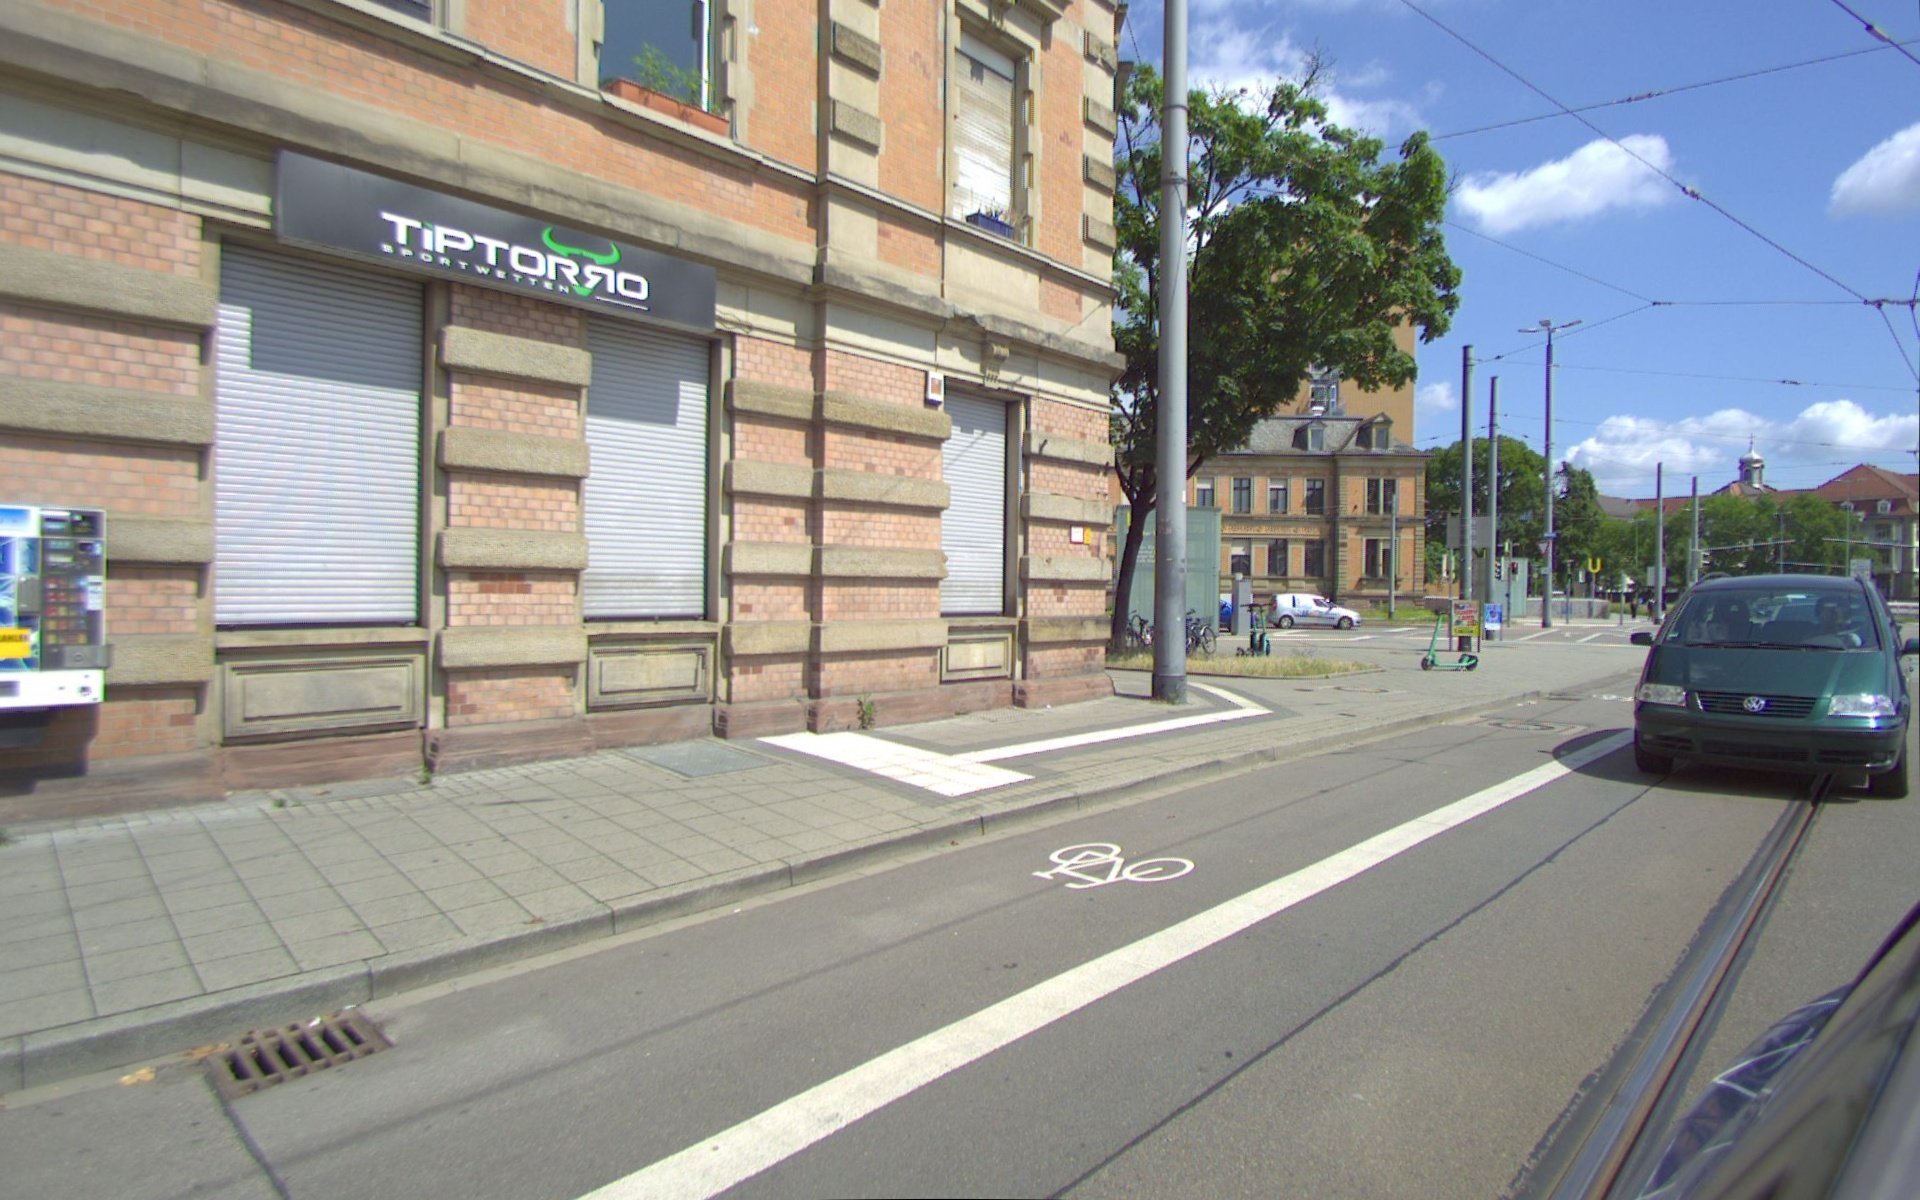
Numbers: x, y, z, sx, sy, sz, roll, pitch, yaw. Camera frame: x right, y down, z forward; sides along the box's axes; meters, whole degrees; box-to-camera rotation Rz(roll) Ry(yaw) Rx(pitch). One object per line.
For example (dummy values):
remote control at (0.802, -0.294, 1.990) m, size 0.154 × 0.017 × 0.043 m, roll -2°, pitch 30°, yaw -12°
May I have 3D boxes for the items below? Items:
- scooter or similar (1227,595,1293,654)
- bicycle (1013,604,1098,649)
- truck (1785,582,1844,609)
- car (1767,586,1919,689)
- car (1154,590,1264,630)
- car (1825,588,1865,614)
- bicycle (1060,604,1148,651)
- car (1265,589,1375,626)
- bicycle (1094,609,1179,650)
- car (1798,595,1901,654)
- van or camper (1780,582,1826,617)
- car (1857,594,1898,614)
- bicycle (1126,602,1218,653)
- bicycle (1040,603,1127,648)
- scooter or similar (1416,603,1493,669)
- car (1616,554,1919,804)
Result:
scooter or similar at (6.614, 0.514, 22.298) m, size 0.946 × 1.218 × 1.371 m, roll 2°, pitch 1°, yaw 38°
bicycle at (2.594, 0.681, 27.155) m, size 2.530 × 1.104 × 0.792 m, roll 0°, pitch 2°, yaw -43°
truck at (101.974, -0.542, 120.937) m, size 3.323 × 3.036 × 8.655 m, roll 1°, pitch 0°, yaw 26°
car at (15.991, 0.612, 18.347) m, size 1.866 × 1.637 × 4.360 m, roll -2°, pitch -1°, yaw 42°
car at (10.601, 0.391, 43.308) m, size 4.352 × 1.570 × 1.871 m, roll 1°, pitch 2°, yaw 8°
car at (72.500, 0.071, 82.939) m, size 1.802 × 2.039 × 3.955 m, roll 1°, pitch 1°, yaw 31°
bicycle at (3.678, 0.680, 25.739) m, size 2.530 × 1.083 × 0.792 m, roll 0°, pitch 2°, yaw -43°
car at (16.208, 0.325, 45.803) m, size 4.350 × 1.607 × 1.871 m, roll 1°, pitch 0°, yaw 7°
bicycle at (4.322, 0.690, 24.644) m, size 2.249 × 0.890 × 0.843 m, roll 0°, pitch 2°, yaw -43°
car at (24.950, 0.631, 28.520) m, size 1.864 × 1.504 × 4.367 m, roll 1°, pitch 1°, yaw 37°
van or camper at (70.224, -0.044, 84.400) m, size 2.216 × 2.770 × 5.458 m, roll 1°, pitch 0°, yaw 32°
car at (69.031, 0.301, 76.190) m, size 1.661 × 1.393 × 3.868 m, roll 1°, pitch 0°, yaw 33°
bicycle at (5.035, 0.632, 23.935) m, size 2.225 × 1.095 × 1.026 m, roll 0°, pitch 2°, yaw -43°
bicycle at (3.266, 0.638, 26.561) m, size 2.530 × 1.067 × 0.792 m, roll 0°, pitch 2°, yaw -43°
scooter or similar at (9.524, 0.675, 19.489) m, size 1.066 × 1.194 × 0.950 m, roll 0°, pitch 1°, yaw -39°
car at (7.431, 0.534, 9.113) m, size 1.815 × 1.739 × 4.020 m, roll 0°, pitch 0°, yaw 44°
